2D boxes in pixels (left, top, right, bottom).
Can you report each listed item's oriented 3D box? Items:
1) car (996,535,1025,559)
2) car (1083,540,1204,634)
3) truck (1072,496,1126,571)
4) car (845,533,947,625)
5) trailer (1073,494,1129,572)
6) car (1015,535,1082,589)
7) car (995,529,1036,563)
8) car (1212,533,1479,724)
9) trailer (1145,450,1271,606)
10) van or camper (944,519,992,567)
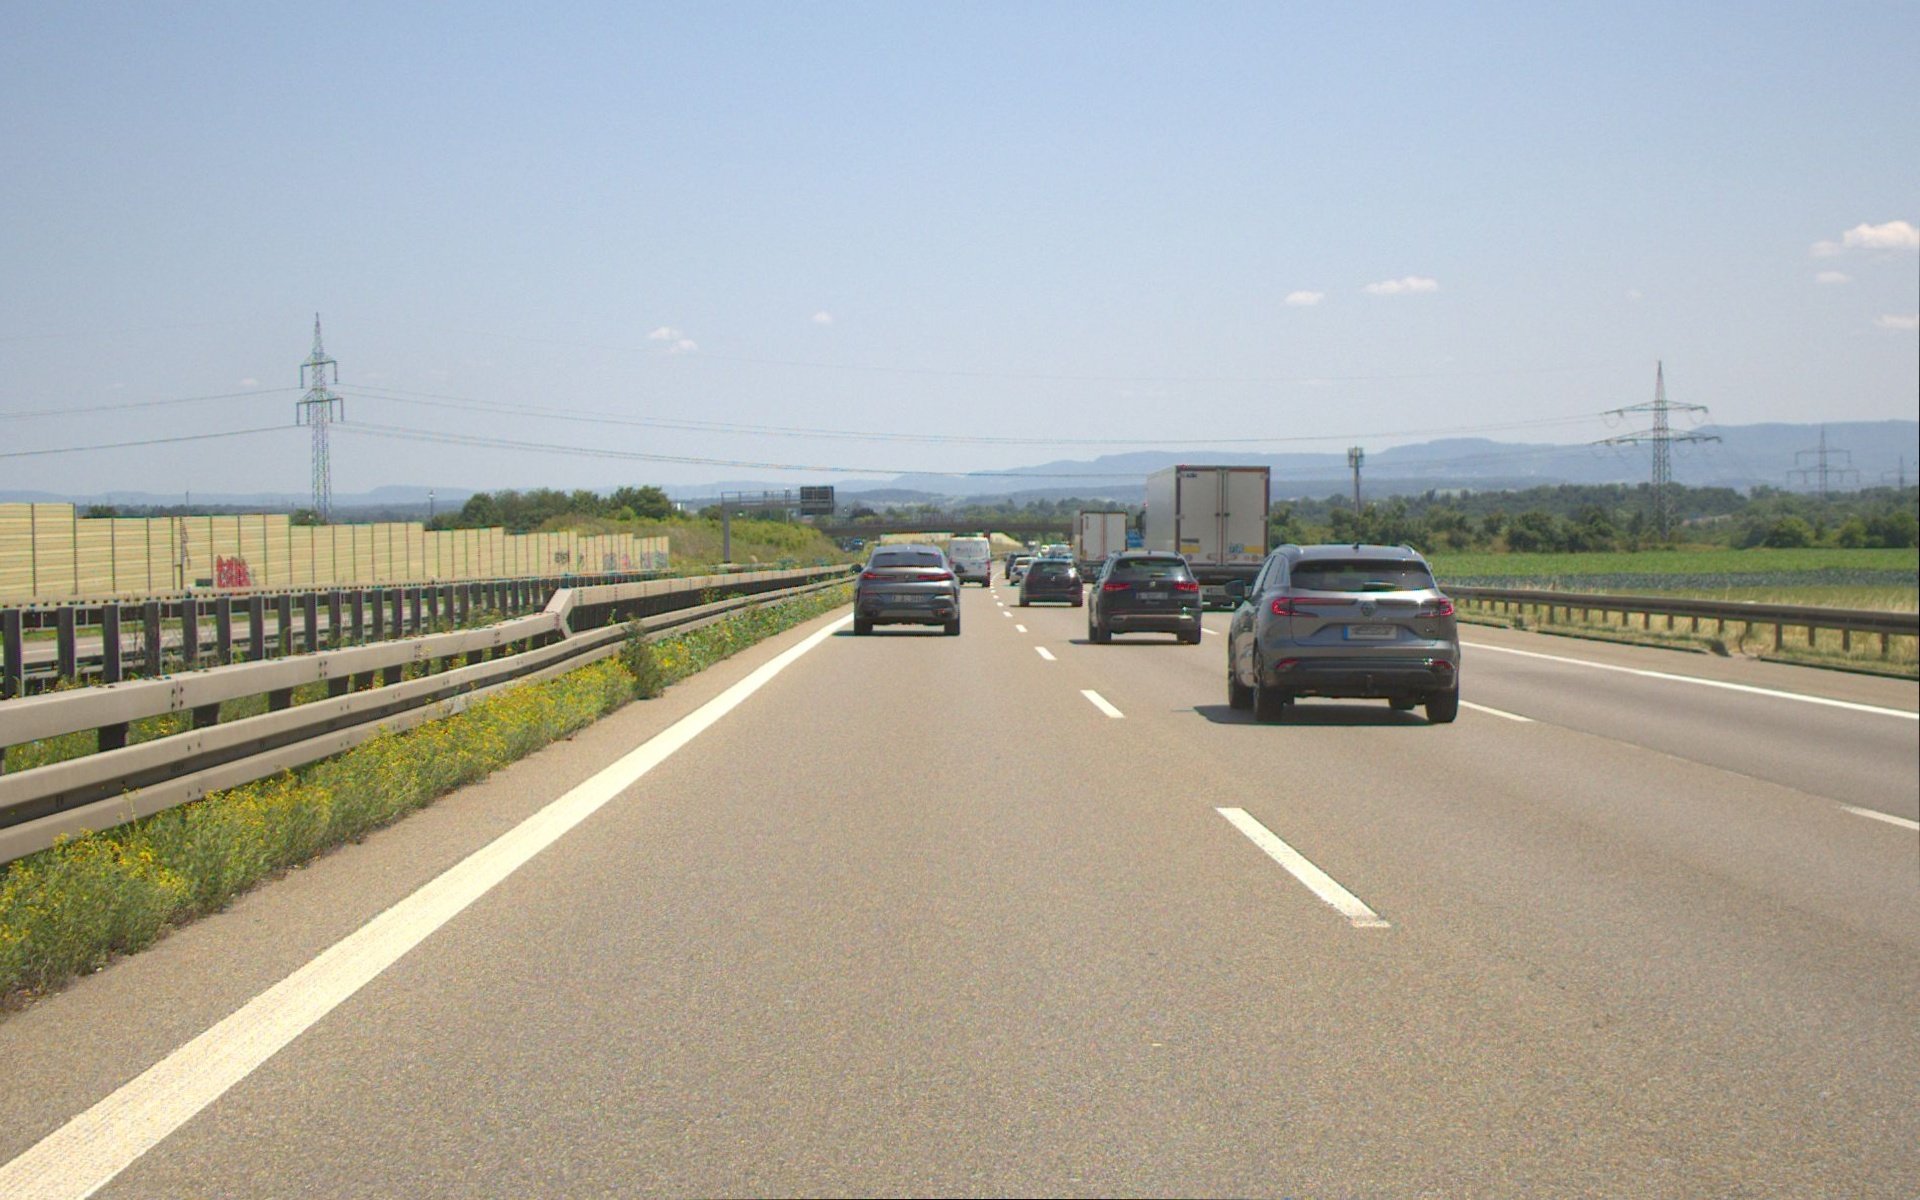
[{"bbox_3d":[3.656,-3.814,247.491,1.993,1.677,4.000,1,1,2],"label":"car"},{"bbox_3d":[3.155,-0.247,59.681,1.796,1.556,3.824,1,1,-1],"label":"car"},{"bbox_3d":[8.038,-3.813,199.339,2.979,4.213,7.687,1,1,2],"label":"truck"},{"bbox_3d":[-1.213,-0.409,64.682,1.851,1.658,3.735,1,1,-1],"label":"car"},{"bbox_3d":[7.864,-3.718,192.936,2.943,4.184,13.596,1,1,2],"label":"trailer"},{"bbox_3d":[2.611,-1.139,102.595,1.933,1.569,4.934,1,1,1],"label":"car"},{"bbox_3d":[2.775,-2.677,171.845,1.993,1.677,4.000,1,1,2],"label":"car"},{"bbox_3d":[3.530,0.227,32.262,1.851,1.643,4.645,1,1,-1],"label":"car"},{"bbox_3d":[7.100,-2.040,100.016,2.868,4.205,13.294,1,1,1],"label":"trailer"},{"bbox_3d":[0.415,-2.673,162.116,2.111,2.204,5.265,1,1,2],"label":"van or camper"}]
